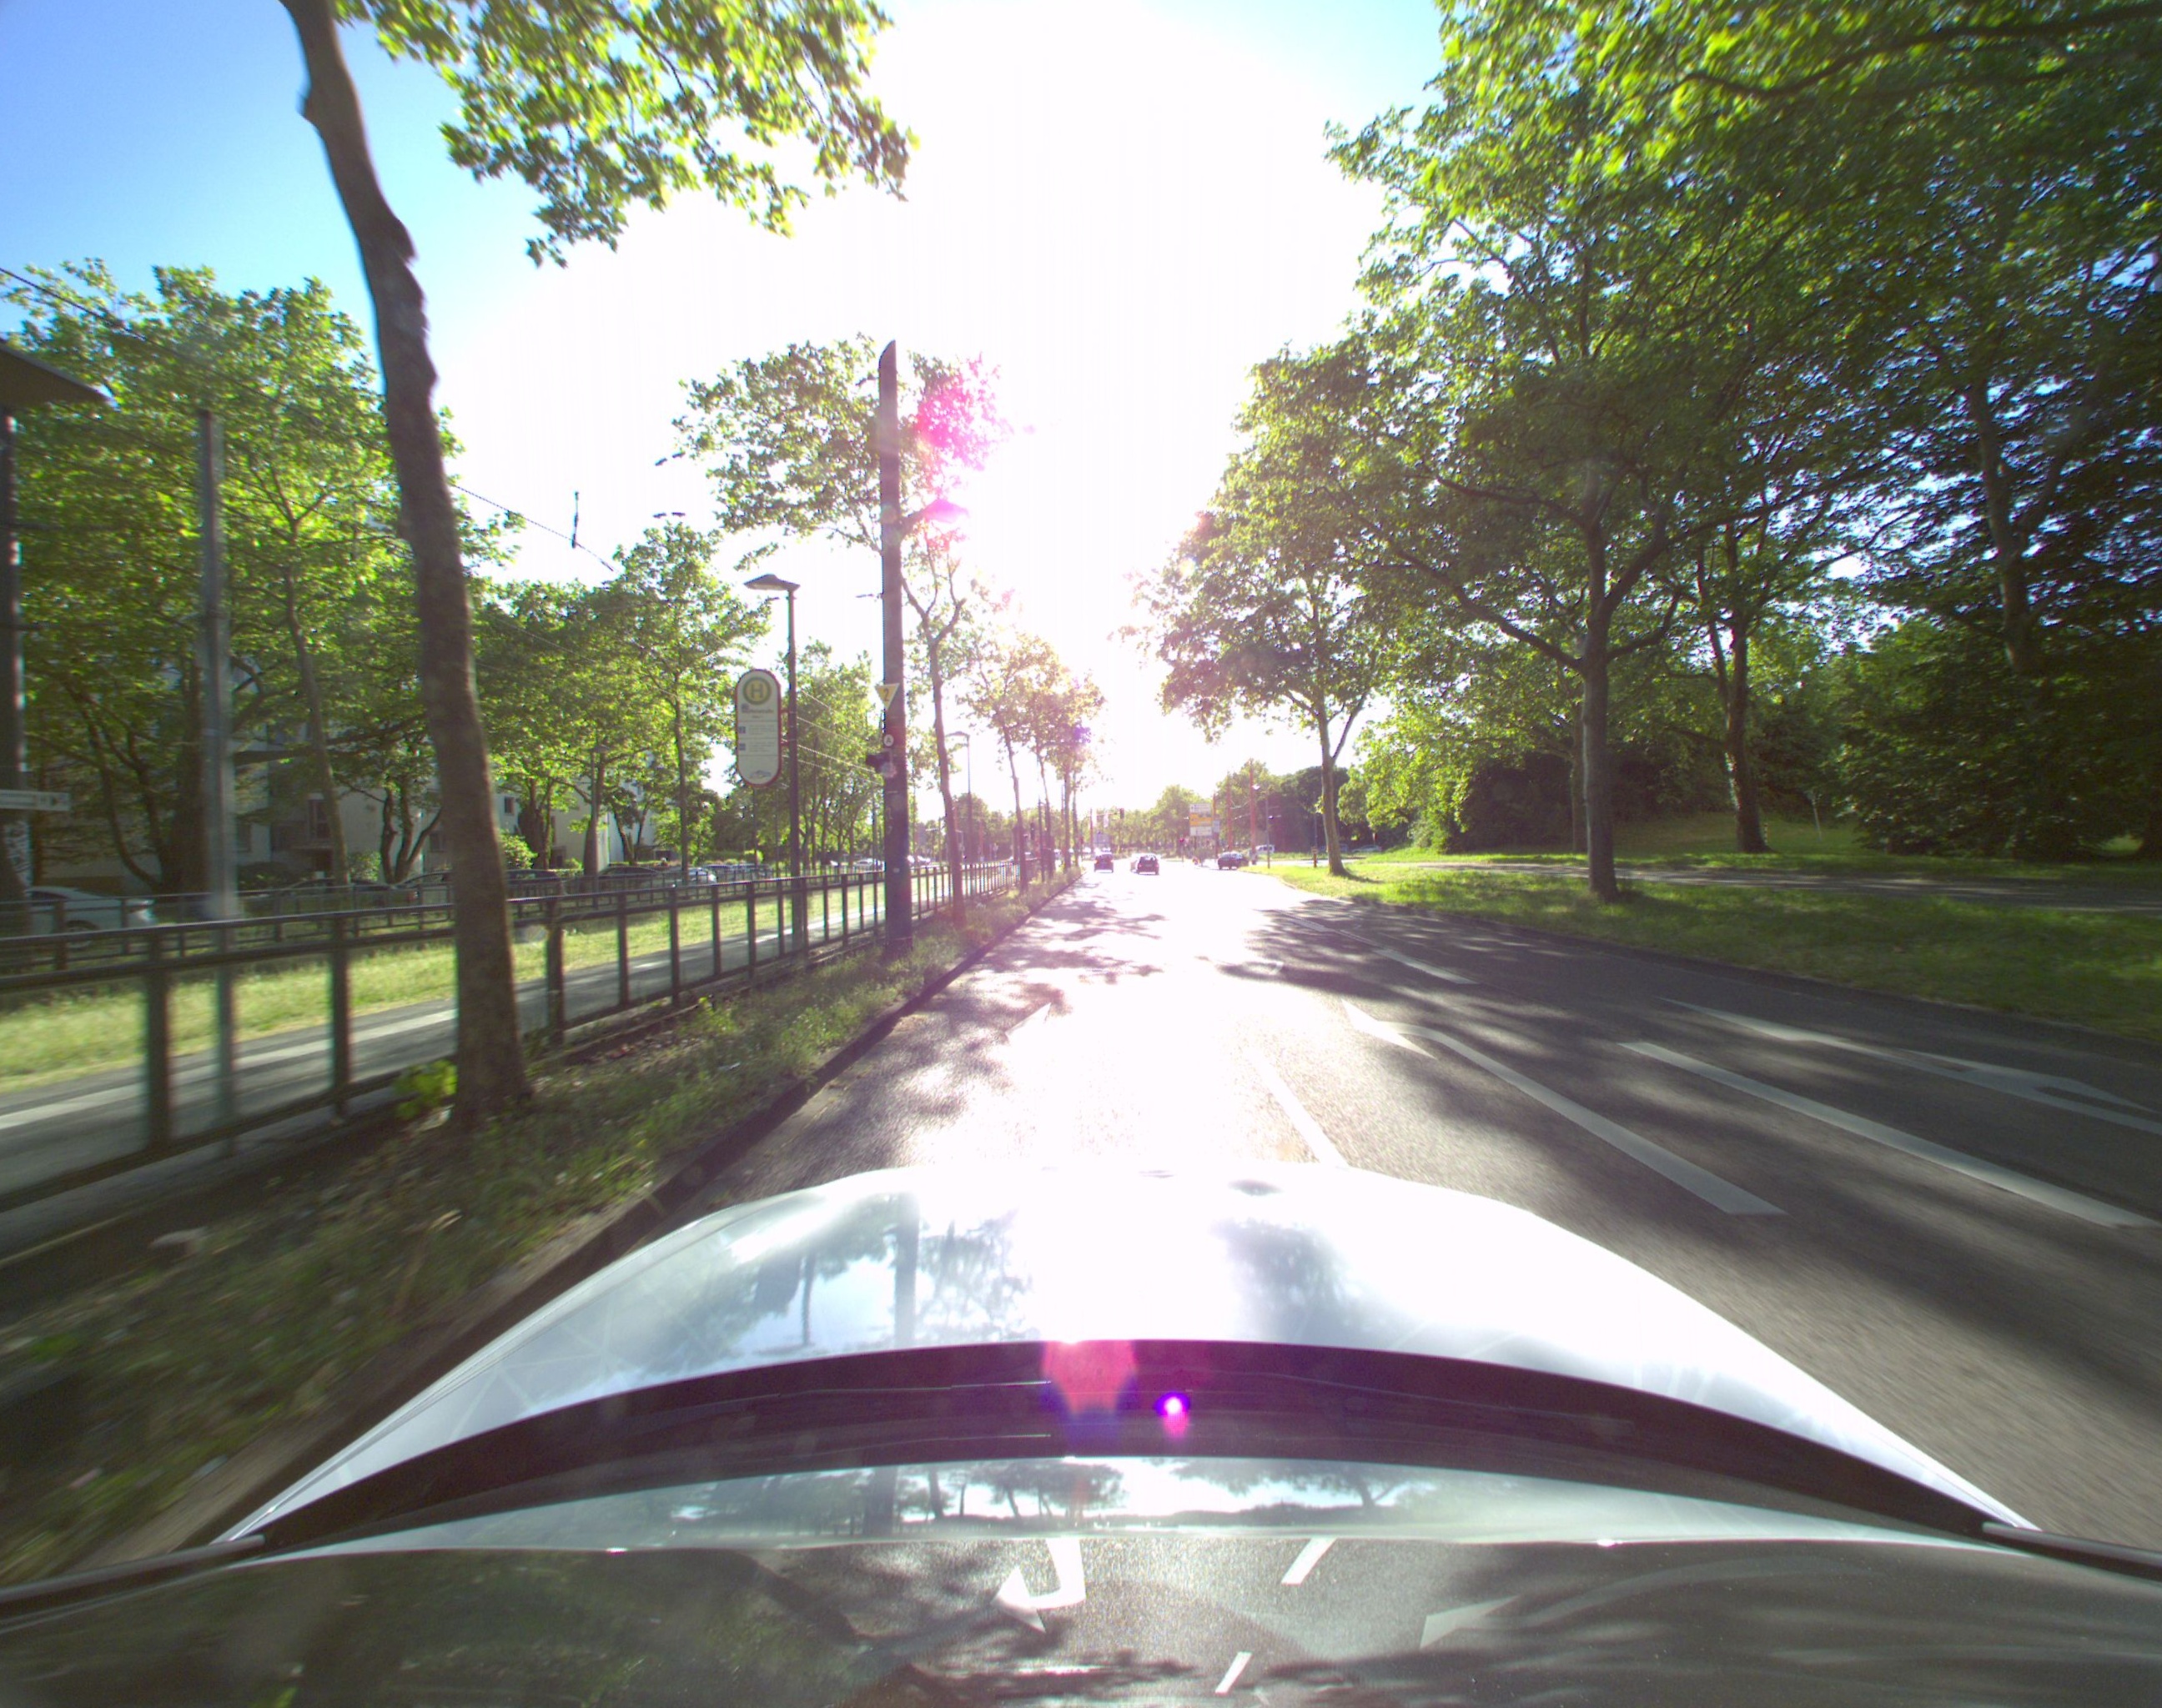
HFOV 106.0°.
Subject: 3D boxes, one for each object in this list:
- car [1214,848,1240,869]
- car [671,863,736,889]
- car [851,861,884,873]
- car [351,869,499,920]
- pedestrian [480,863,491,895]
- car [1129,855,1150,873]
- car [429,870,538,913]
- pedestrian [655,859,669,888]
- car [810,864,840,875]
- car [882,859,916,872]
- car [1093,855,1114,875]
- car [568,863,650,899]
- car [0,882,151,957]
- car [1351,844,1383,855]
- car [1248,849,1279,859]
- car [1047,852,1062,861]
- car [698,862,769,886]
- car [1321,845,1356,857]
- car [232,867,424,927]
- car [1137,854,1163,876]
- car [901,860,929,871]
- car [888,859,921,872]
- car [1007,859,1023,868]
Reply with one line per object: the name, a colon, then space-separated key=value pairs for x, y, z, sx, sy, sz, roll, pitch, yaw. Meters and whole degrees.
car: x=12.971 y=0.394 z=72.530 sx=1.971 sy=1.792 sz=4.623 roll=-1 pitch=0 yaw=7
car: x=-22.782 y=1.307 z=49.175 sx=3.304 sy=1.431 sz=1.552 roll=0 pitch=0 yaw=-41
car: x=-32.135 y=1.958 z=122.705 sx=4.447 sy=1.611 sz=1.910 roll=-2 pitch=0 yaw=20
car: x=-23.389 y=1.395 z=29.175 sx=4.014 sy=1.544 sz=1.627 roll=-1 pitch=1 yaw=-40
pedestrian: x=-34.565 y=1.452 z=47.291 sx=0.317 sy=1.792 sz=0.449 roll=-1 pitch=0 yaw=-5
car: x=4.907 y=0.851 z=68.436 sx=1.672 sy=1.475 sz=4.133 roll=-1 pitch=0 yaw=3
car: x=-23.891 y=1.459 z=32.691 sx=3.396 sy=1.509 sz=1.450 roll=-1 pitch=1 yaw=-32
pedestrian: x=-25.985 y=1.200 z=50.509 sx=0.474 sy=1.792 sz=0.717 roll=-1 pitch=-1 yaw=0
car: x=-39.367 y=2.328 z=125.065 sx=4.000 sy=1.436 sz=1.825 roll=-2 pitch=2 yaw=20
car: x=-26.861 y=1.725 z=120.322 sx=4.447 sy=1.610 sz=1.910 roll=-2 pitch=2 yaw=20
car: x=1.872 y=0.902 z=67.939 sx=1.704 sy=1.603 sz=3.350 roll=-1 pitch=0 yaw=1
car: x=-22.872 y=1.279 z=39.543 sx=1.447 sy=1.547 sz=3.157 roll=0 pitch=1 yaw=44
car: x=-23.565 y=1.455 z=17.884 sx=1.556 sy=1.473 sz=4.085 roll=0 pitch=1 yaw=43
car: x=39.717 y=-0.626 z=113.281 sx=3.949 sy=1.495 sz=1.872 roll=-1 pitch=0 yaw=28
car: x=26.267 y=0.002 z=117.101 sx=3.950 sy=1.338 sz=1.739 roll=-1 pitch=0 yaw=27
car: x=-4.943 y=0.465 z=153.531 sx=1.812 sy=1.780 sz=4.580 roll=-1 pitch=0 yaw=10
car: x=-22.609 y=1.289 z=53.048 sx=3.942 sy=1.476 sz=1.612 roll=0 pitch=-1 yaw=-42
car: x=35.521 y=-0.364 z=112.235 sx=4.311 sy=1.559 sz=1.883 roll=-1 pitch=0 yaw=26
car: x=-23.071 y=1.238 z=25.085 sx=1.626 sy=1.544 sz=4.201 roll=0 pitch=1 yaw=43
car: x=5.086 y=0.780 z=60.444 sx=1.633 sy=1.494 sz=3.503 roll=-1 pitch=1 yaw=1
car: x=-26.494 y=1.798 z=129.921 sx=3.953 sy=1.621 sz=1.910 roll=-1 pitch=0 yaw=20
car: x=-26.812 y=1.767 z=123.406 sx=4.447 sy=1.610 sz=1.910 roll=-2 pitch=2 yaw=20
car: x=-10.349 y=1.474 z=127.925 sx=1.622 sy=1.449 sz=3.726 roll=-1 pitch=0 yaw=8
